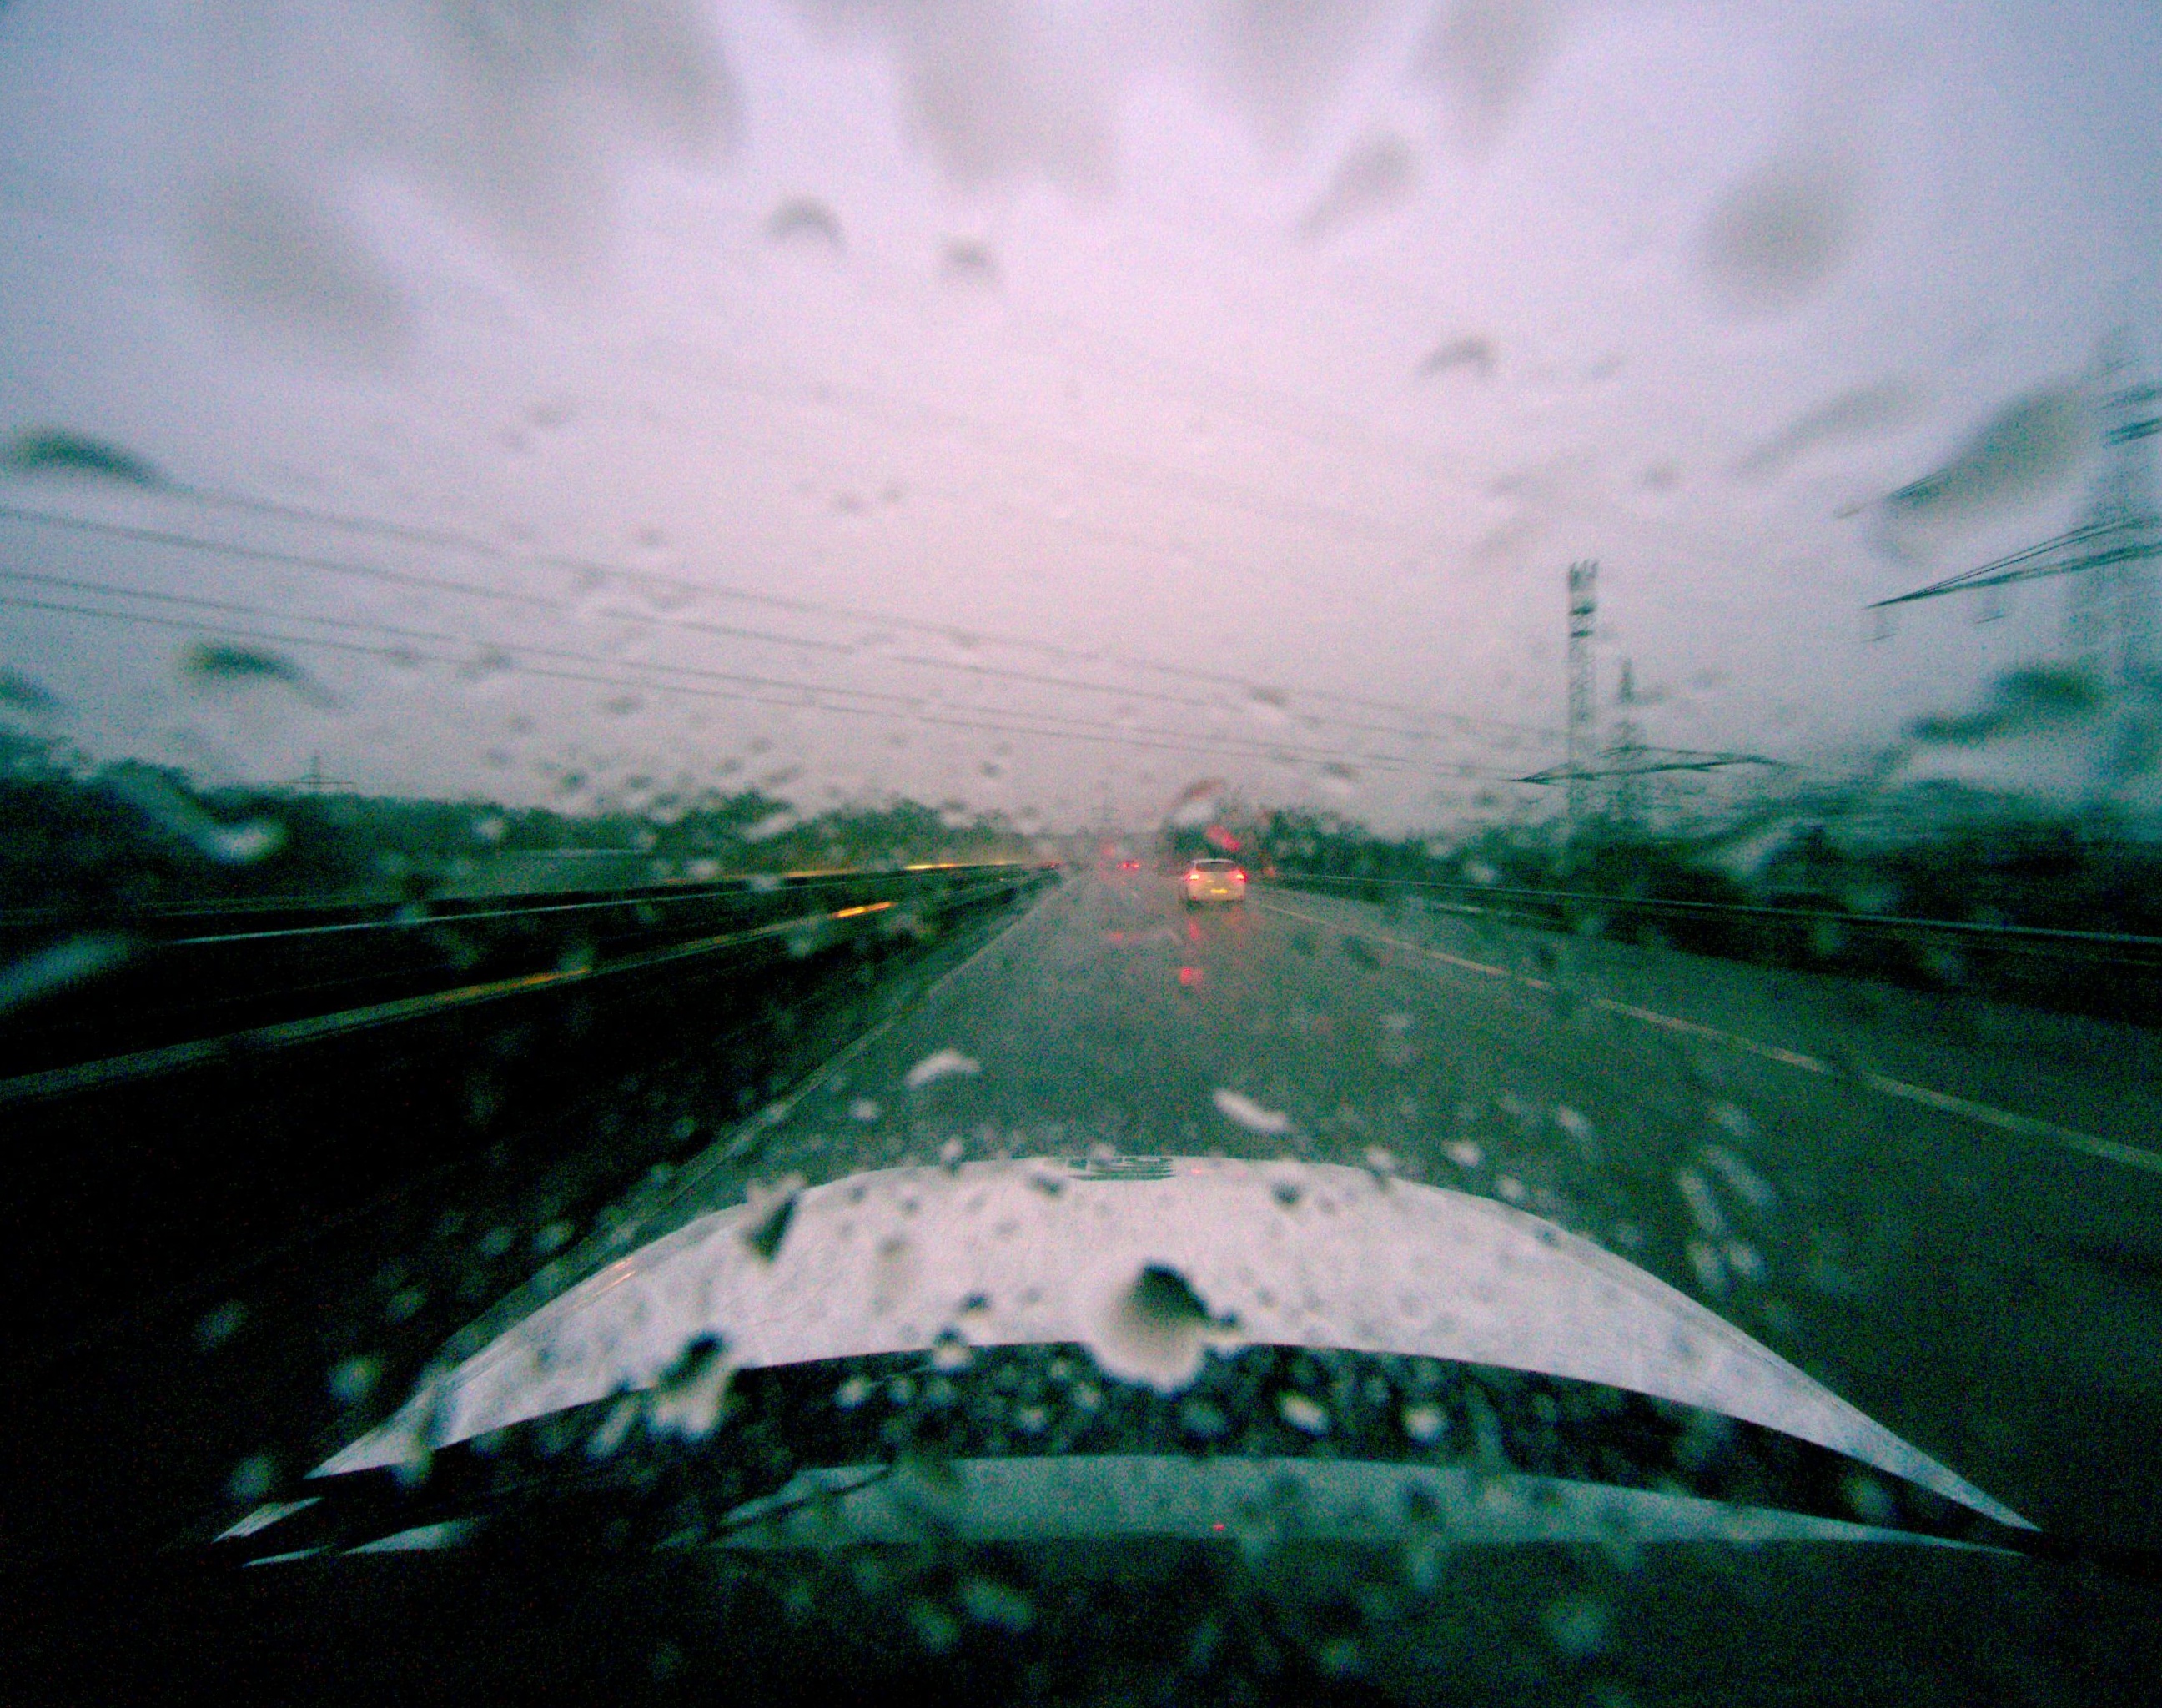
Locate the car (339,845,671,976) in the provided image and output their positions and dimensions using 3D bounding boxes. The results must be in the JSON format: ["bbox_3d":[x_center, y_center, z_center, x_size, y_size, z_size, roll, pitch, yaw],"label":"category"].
[{"bbox_3d":[-8.720,0.755,12.960,2.063,1.711,4.401,-1,0,1],"label":"car"}]

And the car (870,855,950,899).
[{"bbox_3d":[-6.179,0.790,29.935,1.986,1.510,4.001,-1,0,1],"label":"car"}]

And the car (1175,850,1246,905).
[{"bbox_3d":[4.090,0.705,26.238,1.838,1.636,3.770,-1,0,3],"label":"car"}]
